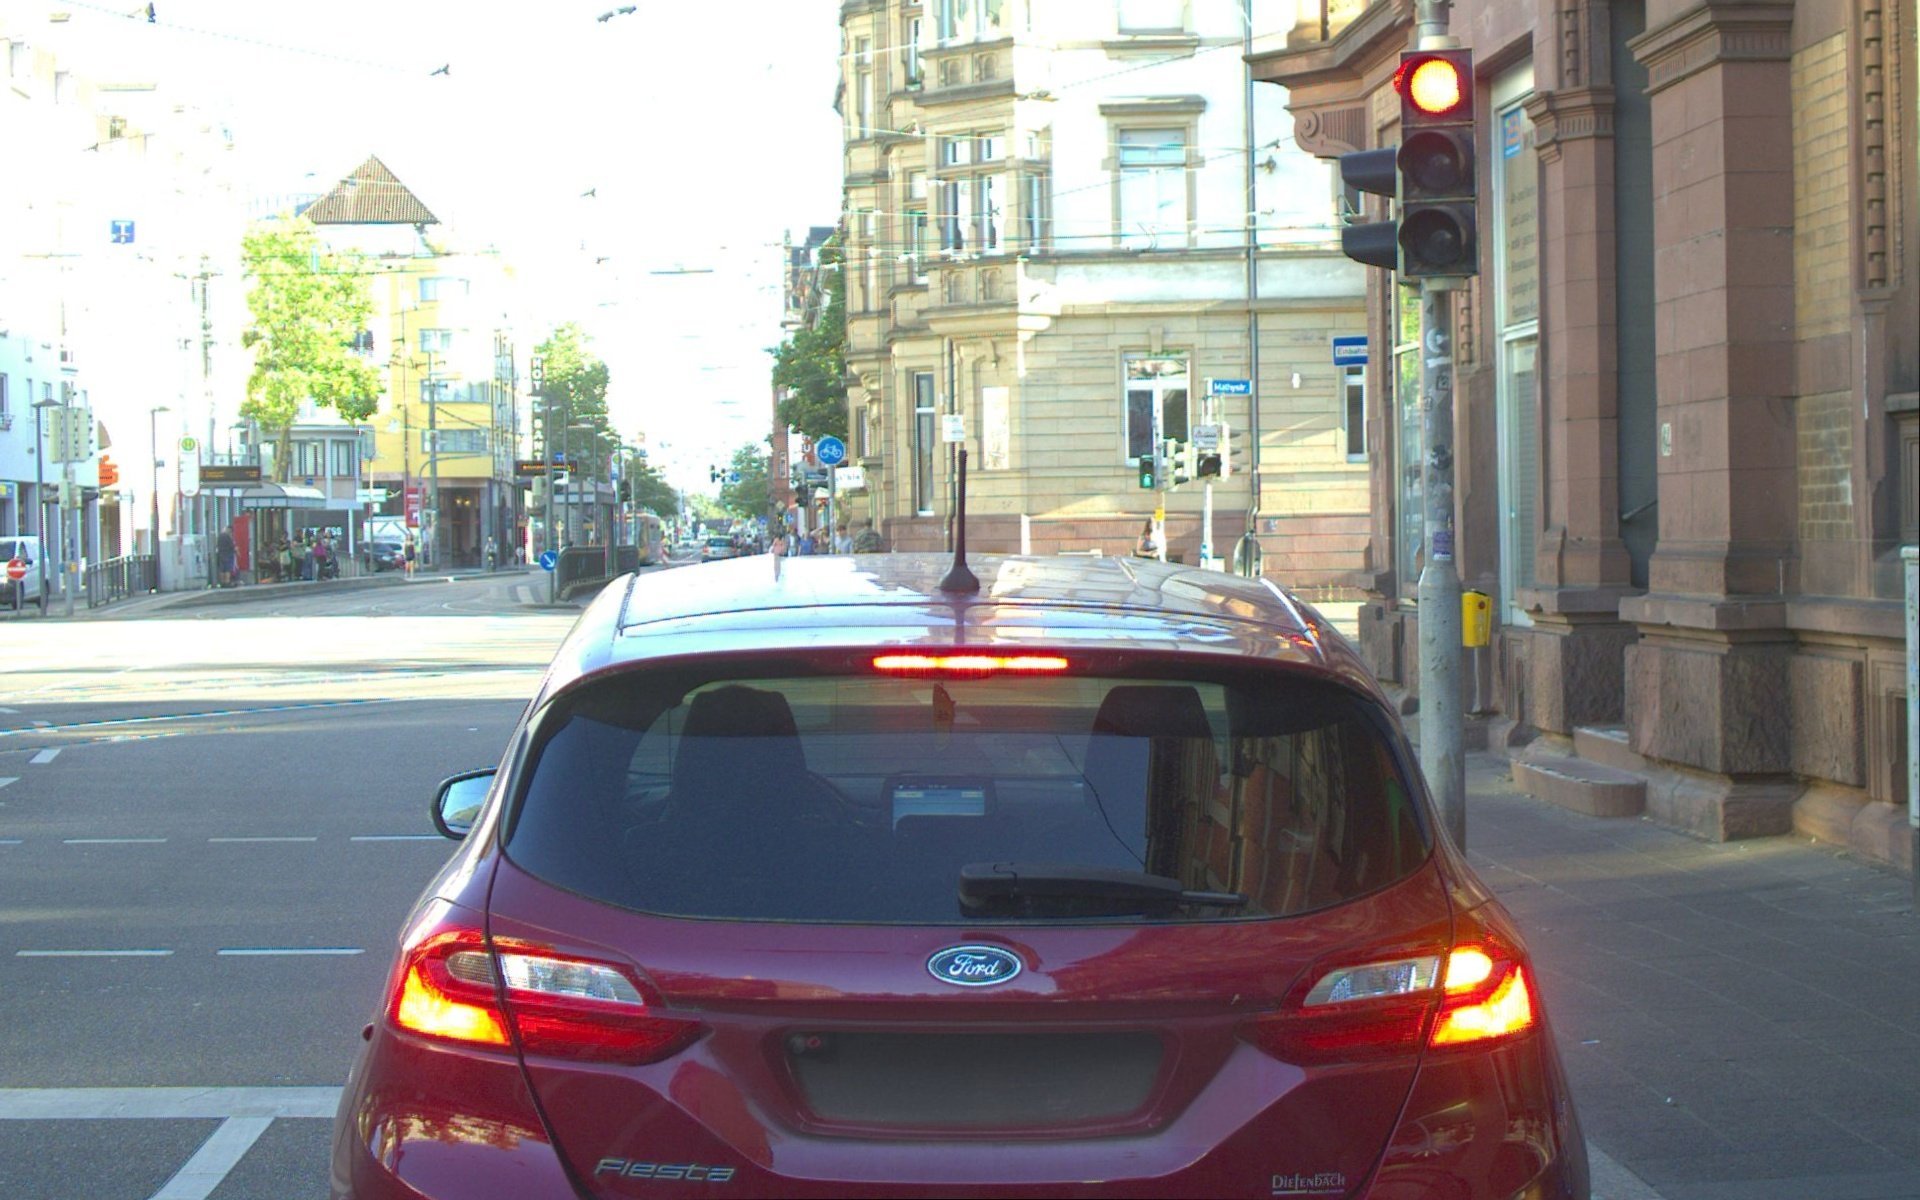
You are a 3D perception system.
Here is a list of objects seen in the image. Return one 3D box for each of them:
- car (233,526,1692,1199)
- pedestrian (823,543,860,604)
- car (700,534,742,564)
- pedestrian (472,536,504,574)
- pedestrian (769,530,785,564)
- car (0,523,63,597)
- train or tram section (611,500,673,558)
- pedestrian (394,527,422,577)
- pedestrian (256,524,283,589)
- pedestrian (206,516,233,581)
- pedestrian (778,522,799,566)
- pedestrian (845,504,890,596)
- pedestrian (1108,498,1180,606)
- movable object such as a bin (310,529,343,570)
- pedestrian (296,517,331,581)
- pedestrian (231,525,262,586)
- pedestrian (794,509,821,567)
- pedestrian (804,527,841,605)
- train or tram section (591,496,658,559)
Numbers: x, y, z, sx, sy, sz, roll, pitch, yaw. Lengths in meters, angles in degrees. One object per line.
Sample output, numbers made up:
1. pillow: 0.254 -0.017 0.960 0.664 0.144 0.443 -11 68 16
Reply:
1. car: -0.023 0.634 5.810 1.692 1.490 3.580 1 1 -1
2. pedestrian: -2.623 -0.581 76.207 0.717 1.327 0.797 -2 0 -5
3. car: -11.722 -2.497 168.728 1.993 1.444 4.001 0 1 -4
4. pedestrian: -23.816 -2.291 173.483 1.343 1.898 1.474 -1 1 -19
5. pedestrian: -9.098 -2.622 170.654 0.751 1.655 0.650 1 0 -1
6. car: -24.532 -1.035 88.175 1.993 1.831 5.347 -1 1 -4
7. train or tram section: -19.819 -4.405 214.718 2.885 3.478 14.952 1 1 -2
8. pedestrian: -21.206 -1.840 132.083 0.878 1.898 0.935 -1 1 -19
9. pedestrian: -20.201 -1.278 100.571 0.695 1.898 0.672 -1 1 -6
10. pedestrian: -19.478 -1.358 90.450 0.598 1.686 0.613 -1 1 -3
11. pedestrian: -7.095 -2.321 141.923 0.713 1.768 0.773 -4 2 -6
12. pedestrian: -1.881 -1.028 69.693 0.800 1.817 0.798 -3 2 -4
13. pedestrian: 3.134 -0.817 58.590 1.023 1.800 1.083 -1 1 -7
14. movable object such as a bin: -20.147 -1.592 109.272 0.937 1.282 0.935 -1 1 -6
15. pedestrian: -19.310 -1.520 102.698 0.931 1.898 0.881 -1 1 -6
16. pedestrian: -20.034 -1.255 96.512 0.695 1.685 0.672 -1 1 -27
17. pedestrian: -4.816 -1.955 108.490 0.713 1.768 0.773 -4 2 -6
18. pedestrian: -3.092 -0.767 77.072 0.717 1.715 0.797 -2 0 -5
19. train or tram section: -19.438 -4.183 200.146 2.885 3.478 14.169 1 1 -2
